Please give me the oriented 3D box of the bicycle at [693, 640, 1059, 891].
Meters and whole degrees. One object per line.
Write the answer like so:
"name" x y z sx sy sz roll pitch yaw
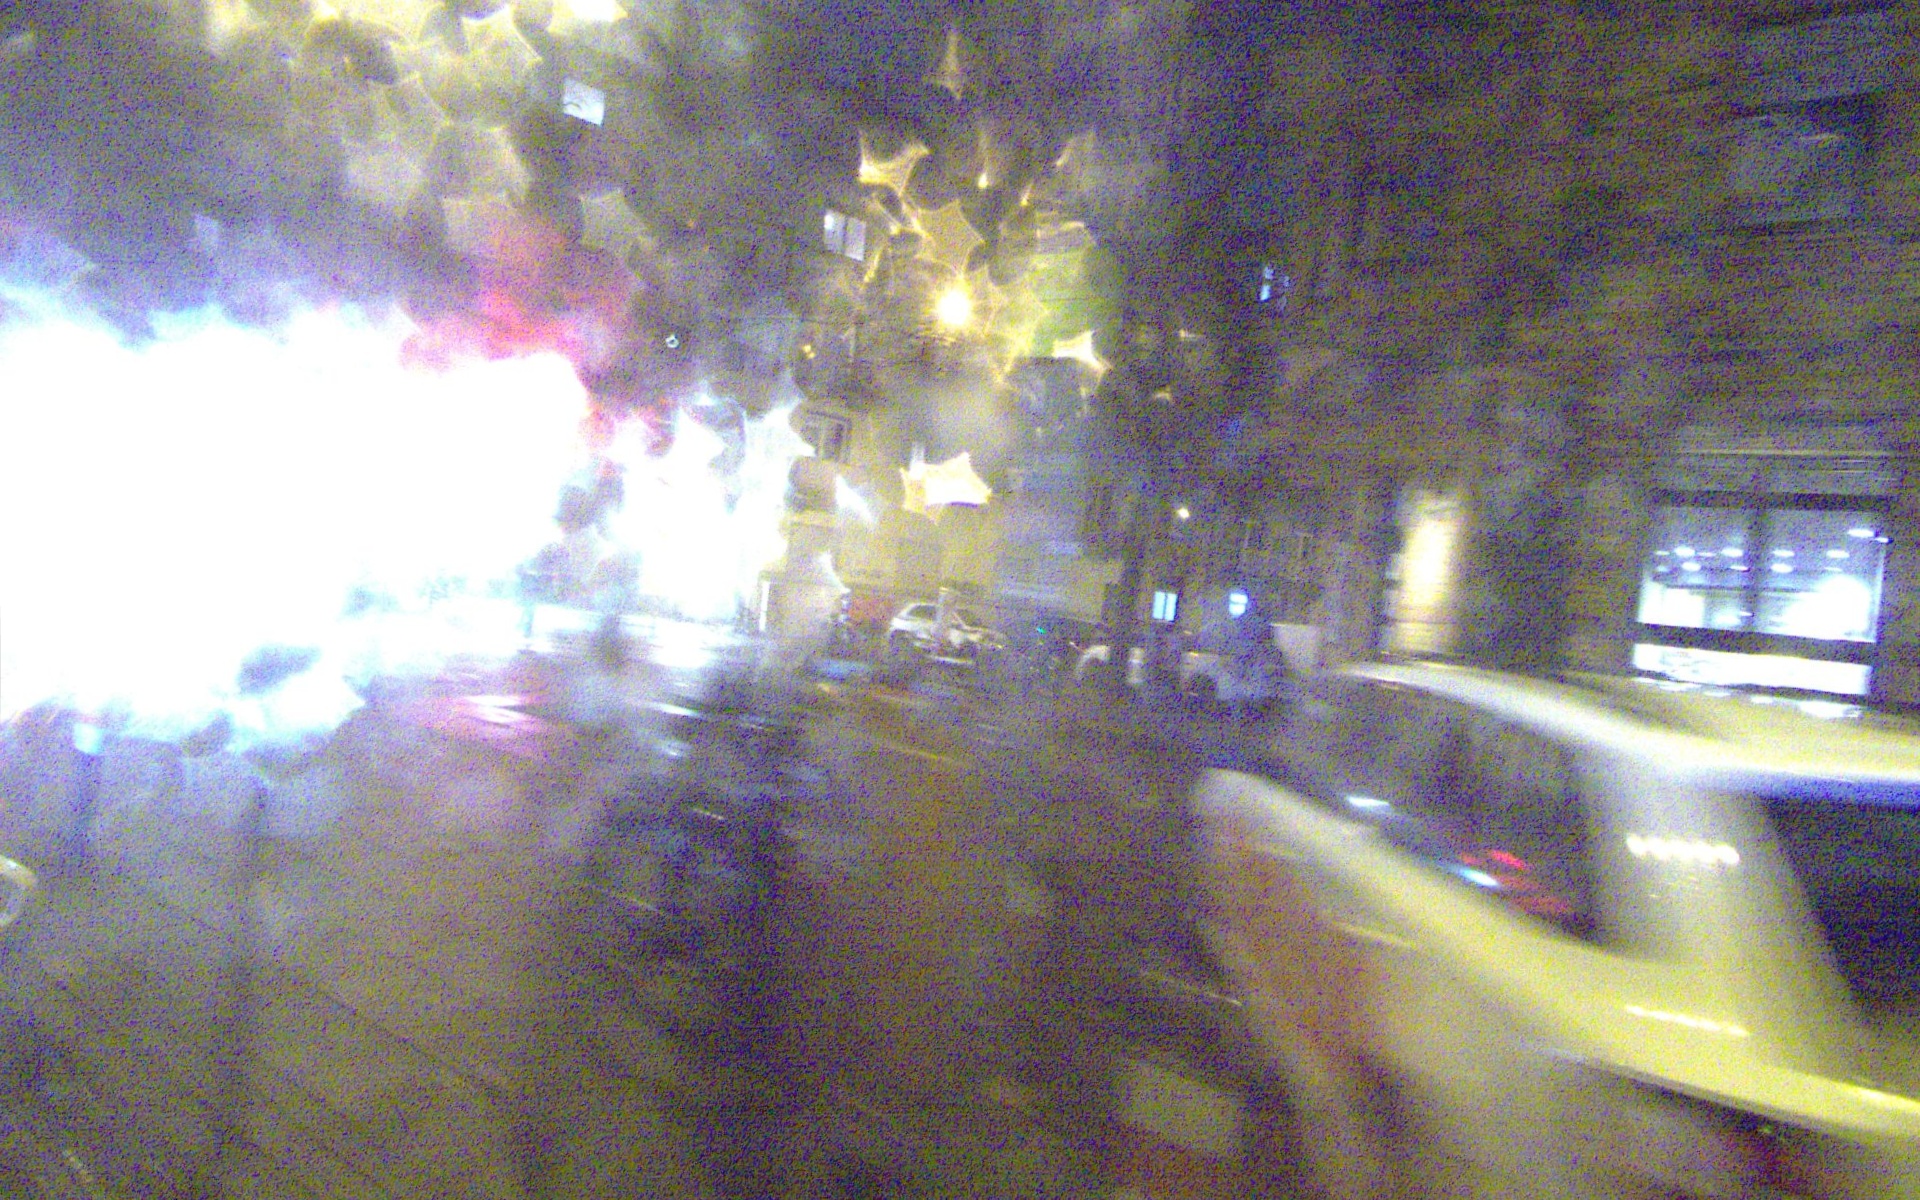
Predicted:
"bicycle" -0.380 0.753 4.730 1.615 1.039 0.336 3 0 2

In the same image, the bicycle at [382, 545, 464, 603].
"bicycle" -13.127 -0.627 24.614 1.630 1.187 0.381 8 -3 -30

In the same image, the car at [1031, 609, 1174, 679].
"car" 4.543 1.394 32.214 4.039 1.682 1.755 6 -2 31

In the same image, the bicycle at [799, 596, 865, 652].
"bicycle" -3.130 0.618 24.790 0.444 1.190 1.964 6 -2 29

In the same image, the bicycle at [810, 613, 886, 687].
"bicycle" -1.901 0.816 16.822 0.399 1.021 1.794 6 1 -33

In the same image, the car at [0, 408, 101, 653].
"car" -9.286 -0.699 8.567 2.107 2.015 4.564 7 -1 -31

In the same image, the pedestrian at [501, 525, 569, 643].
"pedestrian" -7.218 -0.265 17.116 0.867 1.856 0.979 6 0 -22

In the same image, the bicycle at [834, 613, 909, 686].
"bicycle" -1.518 0.814 17.025 0.376 1.021 1.794 6 1 -33

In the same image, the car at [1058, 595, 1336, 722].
"car" 4.371 1.044 19.426 1.982 1.783 5.049 8 -1 -35

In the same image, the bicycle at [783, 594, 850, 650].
"bicycle" -3.540 0.575 24.991 0.444 1.190 1.964 6 -2 29

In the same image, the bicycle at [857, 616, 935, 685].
"bicycle" -1.116 0.836 17.260 0.400 1.020 1.795 8 -2 -33

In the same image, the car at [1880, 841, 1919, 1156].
"car" 4.083 1.038 1.489 1.739 1.735 3.736 6 1 -2

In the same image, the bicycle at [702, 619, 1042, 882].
"bicycle" -0.445 0.753 5.226 1.615 1.106 0.336 7 2 6

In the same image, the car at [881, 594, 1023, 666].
"car" -0.235 0.875 29.371 3.632 1.596 1.755 6 -2 31

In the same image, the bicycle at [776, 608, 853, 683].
"bicycle" -2.430 0.722 16.580 0.450 1.021 1.794 6 1 -33

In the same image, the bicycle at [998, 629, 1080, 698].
"bicycle" 1.400 1.128 18.195 0.399 1.021 1.761 6 1 -33

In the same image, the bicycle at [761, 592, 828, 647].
"bicycle" -4.137 0.513 25.302 0.444 1.190 1.964 6 -2 29

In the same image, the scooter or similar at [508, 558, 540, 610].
"scooter or similar" -11.195 -0.423 25.815 0.521 1.244 1.303 8 0 -28

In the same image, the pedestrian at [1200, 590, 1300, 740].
"pedestrian" 3.753 0.834 13.039 0.783 1.840 0.803 5 0 -33

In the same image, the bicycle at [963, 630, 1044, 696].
"bicycle" 0.767 1.120 18.244 0.400 1.020 1.795 8 -2 -33

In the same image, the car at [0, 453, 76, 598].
"car" -15.355 -1.288 15.511 4.763 1.945 2.118 6 -1 45

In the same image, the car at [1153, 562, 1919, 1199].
"car" 1.811 0.829 3.084 1.738 1.594 4.261 6 1 4

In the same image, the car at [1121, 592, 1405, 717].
"car" 6.114 1.041 21.076 1.982 1.912 5.496 8 -1 -35

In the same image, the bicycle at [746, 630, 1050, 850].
"bicycle" -0.345 0.773 5.732 1.615 1.040 0.336 5 2 6

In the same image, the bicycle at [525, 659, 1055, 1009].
"bicycle" -0.548 0.815 3.457 1.620 1.040 0.335 7 2 -15

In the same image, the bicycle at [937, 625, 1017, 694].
"bicycle" 0.281 1.039 17.955 0.399 1.021 1.794 6 1 -33

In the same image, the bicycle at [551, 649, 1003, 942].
"bicycle" -0.692 0.776 3.967 1.619 1.040 0.335 4 2 -13

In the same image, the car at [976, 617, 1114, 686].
"car" 2.554 1.564 30.513 3.632 1.596 1.755 6 -2 31

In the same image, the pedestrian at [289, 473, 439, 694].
"pedestrian" -5.189 -0.130 8.768 0.592 1.792 0.824 6 -1 44

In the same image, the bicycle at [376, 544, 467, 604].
"bicycle" -12.666 -0.601 23.687 1.767 1.188 0.381 7 0 -30
